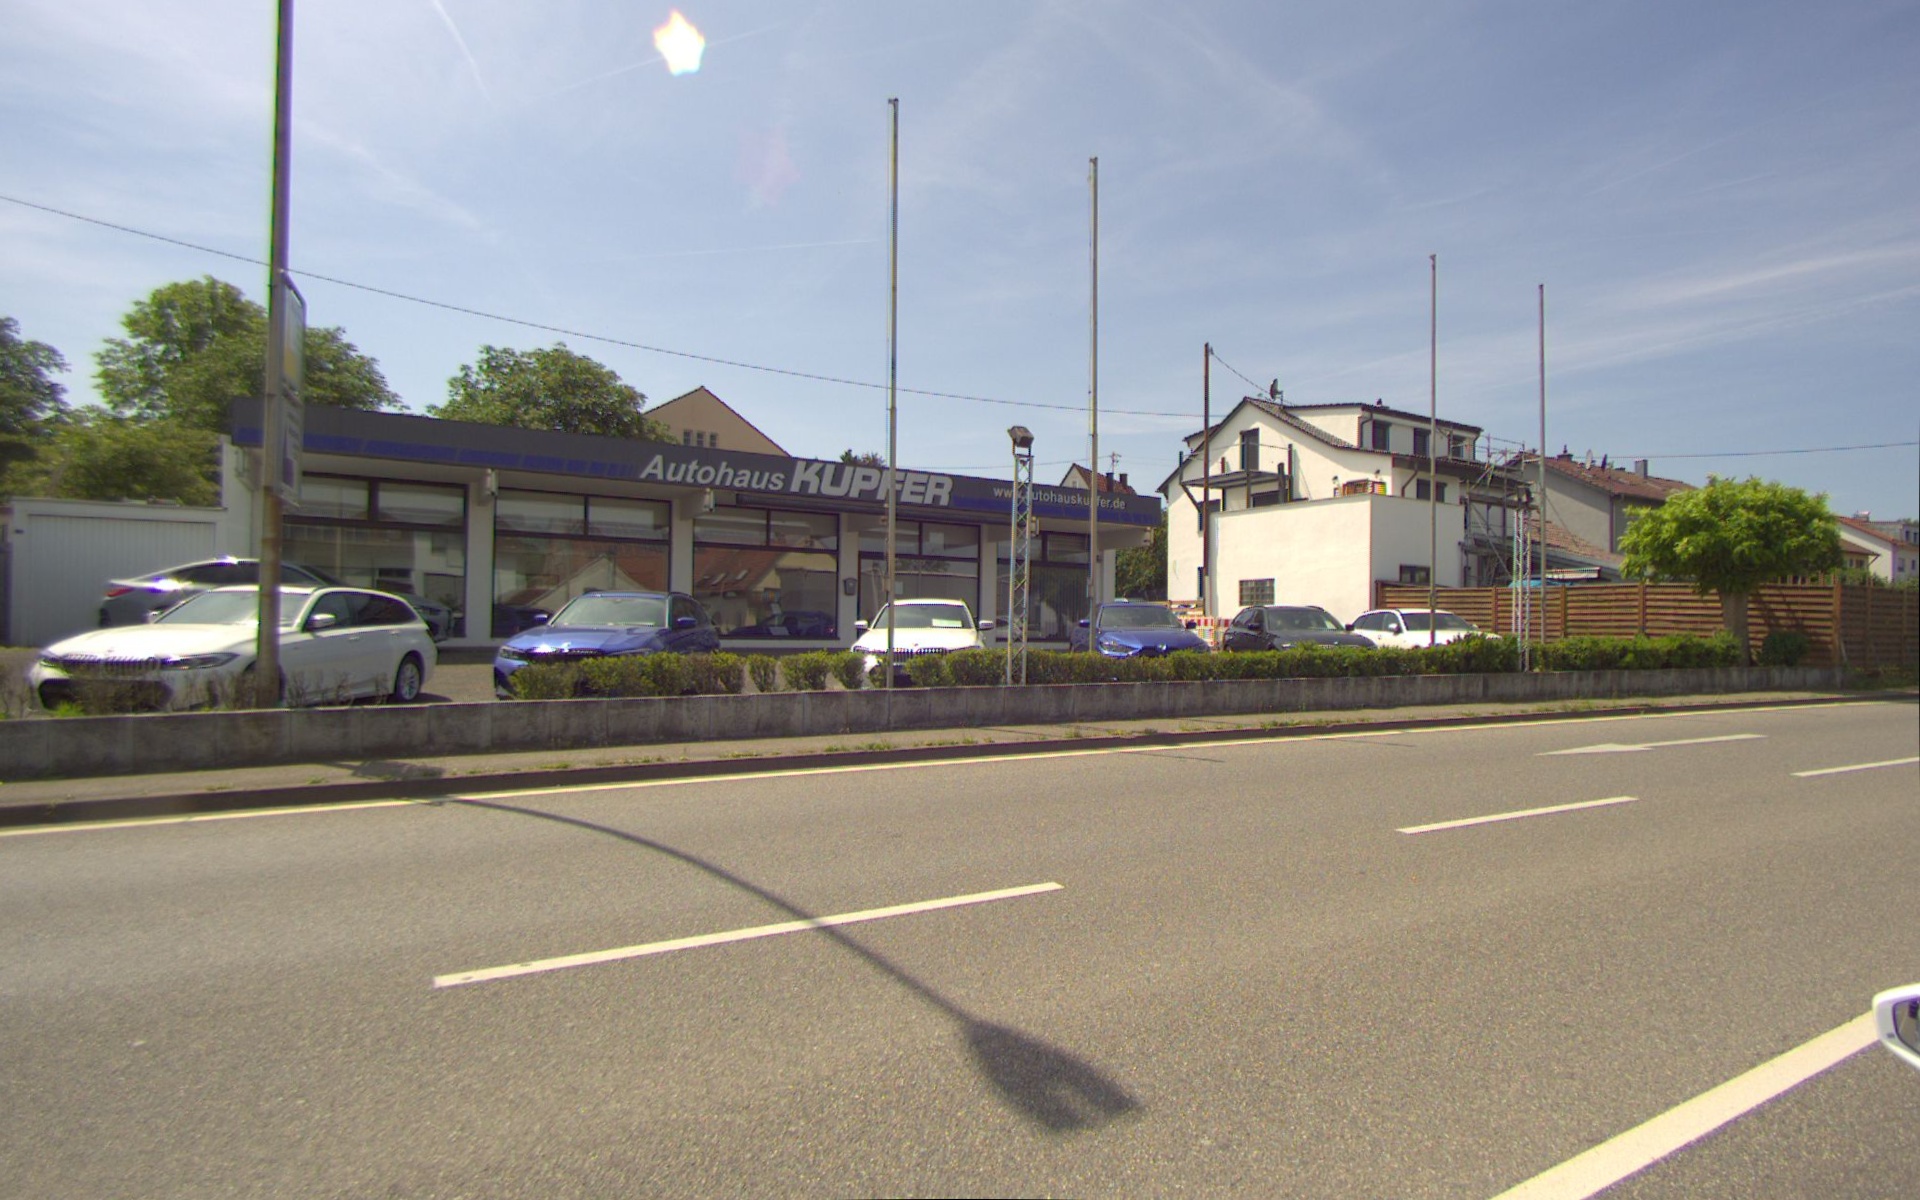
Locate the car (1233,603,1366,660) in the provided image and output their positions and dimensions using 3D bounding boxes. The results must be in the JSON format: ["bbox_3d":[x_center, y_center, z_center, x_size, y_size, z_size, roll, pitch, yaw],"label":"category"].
[{"bbox_3d":[10.020,0.883,29.966,1.805,1.530,3.986,1,0,-16],"label":"car"}]

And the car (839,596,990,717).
[{"bbox_3d":[-0.507,0.698,14.828,1.820,1.467,4.516,1,0,2],"label":"car"}]

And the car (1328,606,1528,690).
[{"bbox_3d":[9.488,0.908,20.811,1.822,1.467,4.339,2,0,-5],"label":"car"}]

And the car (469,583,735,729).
[{"bbox_3d":[-4.248,0.588,12.724,1.821,1.467,4.342,2,0,-1],"label":"car"}]

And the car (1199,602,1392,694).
[{"bbox_3d":[6.159,0.814,19.023,1.862,1.467,4.339,2,0,-5],"label":"car"}]

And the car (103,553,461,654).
[{"bbox_3d":[-10.776,0.082,16.403,4.513,1.484,1.801,1,0,-21],"label":"car"}]

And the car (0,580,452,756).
[{"bbox_3d":[-7.669,0.568,11.075,1.821,1.467,4.579,2,1,-1],"label":"car"}]

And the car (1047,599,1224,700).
[{"bbox_3d":[2.856,0.754,17.355,1.822,1.467,4.338,2,0,-6],"label":"car"}]
